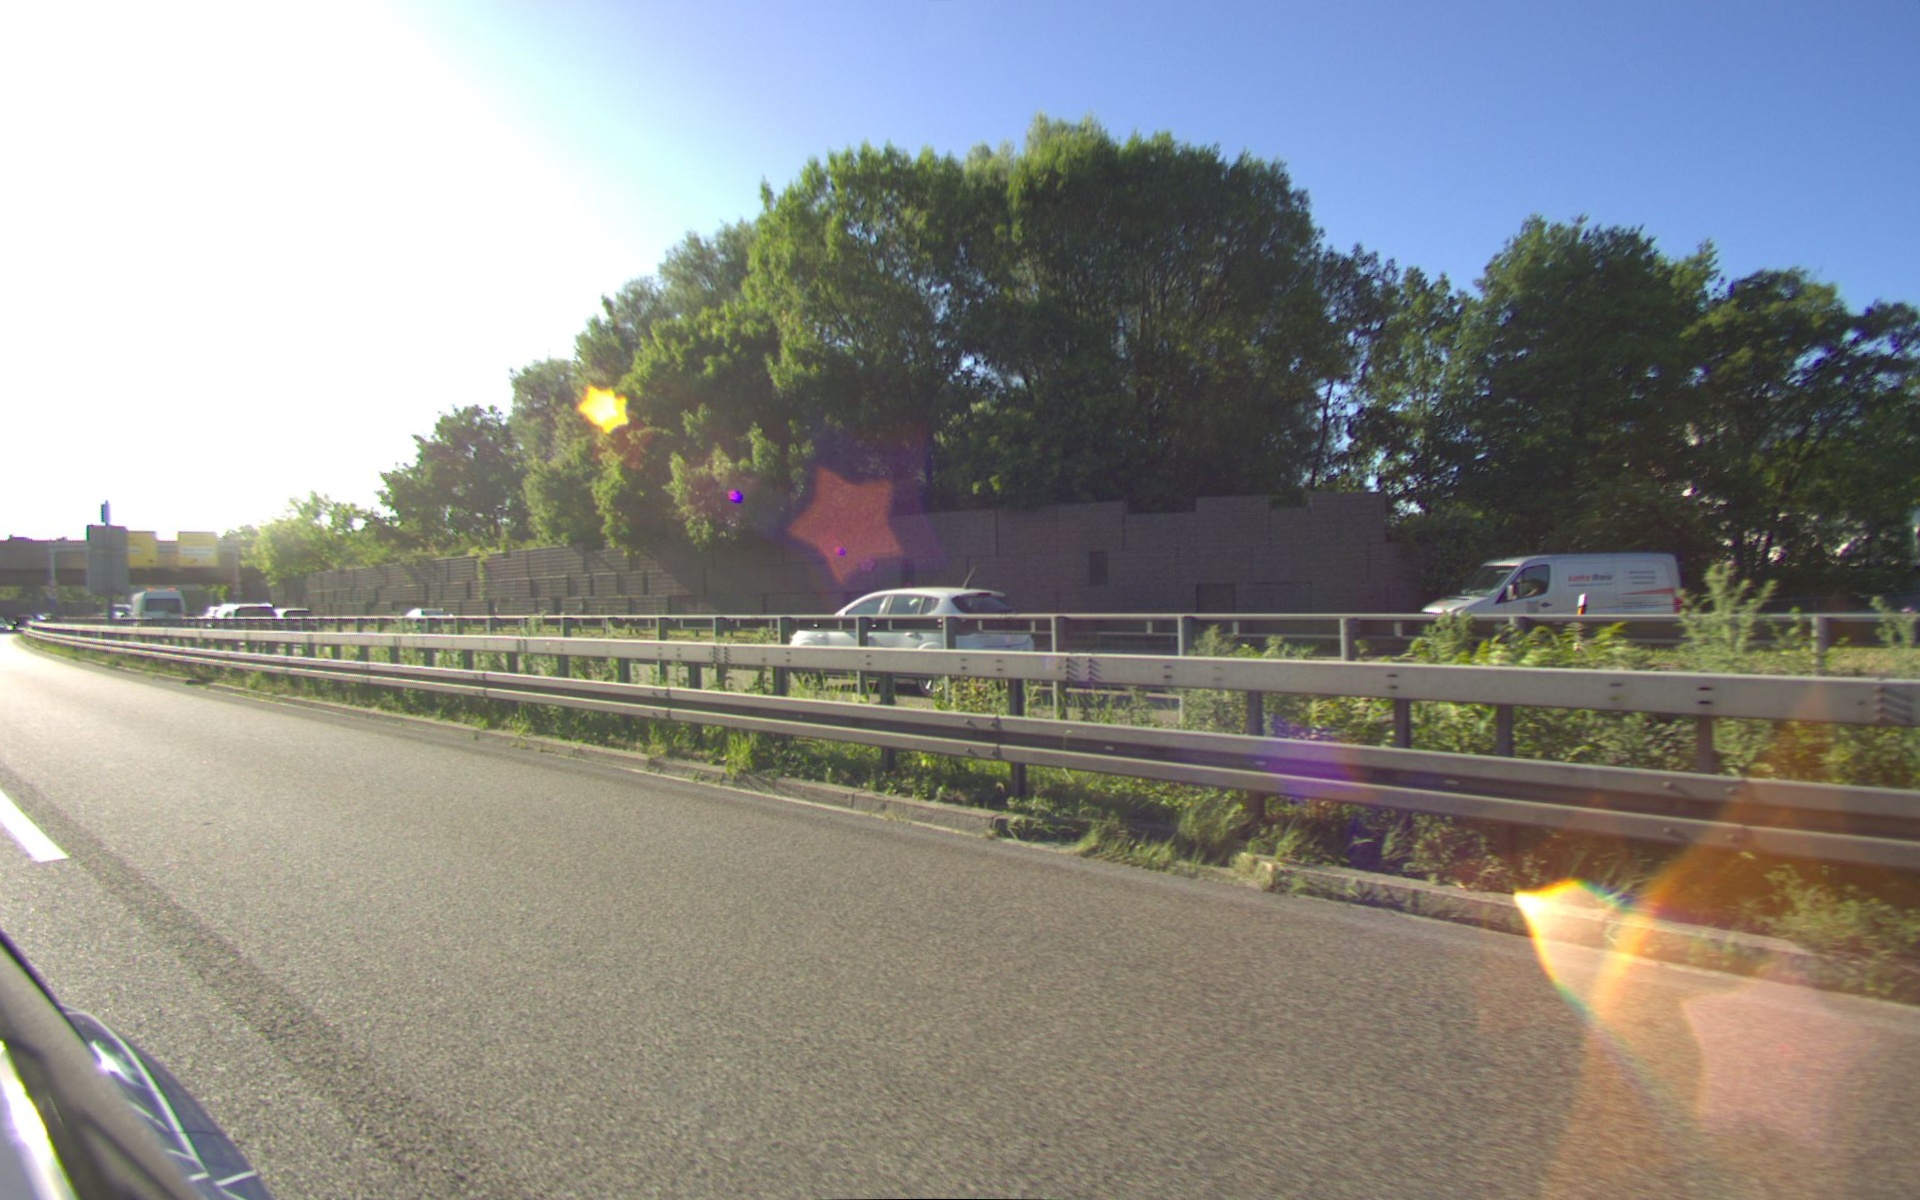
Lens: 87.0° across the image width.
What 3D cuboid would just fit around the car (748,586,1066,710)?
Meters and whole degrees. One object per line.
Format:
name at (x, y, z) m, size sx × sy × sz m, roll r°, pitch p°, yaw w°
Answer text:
car at (-0.904, 0.659, 14.804) m, size 4.618 × 1.491 × 1.804 m, roll -2°, pitch 1°, yaw 40°

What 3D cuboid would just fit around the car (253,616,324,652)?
car at (-34.119, 1.711, 51.364) m, size 4.696 × 1.632 × 1.881 m, roll -2°, pitch 1°, yaw 43°

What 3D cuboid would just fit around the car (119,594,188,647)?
car at (-44.695, 1.164, 56.009) m, size 6.590 × 2.703 × 2.097 m, roll -2°, pitch 1°, yaw 44°

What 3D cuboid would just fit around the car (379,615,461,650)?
car at (-24.465, 1.465, 45.810) m, size 4.027 × 1.398 × 1.973 m, roll -2°, pitch 1°, yaw 42°

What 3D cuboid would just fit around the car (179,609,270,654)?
car at (-28.109, 1.218, 38.631) m, size 4.246 × 1.591 × 1.972 m, roll -3°, pitch -2°, yaw 42°

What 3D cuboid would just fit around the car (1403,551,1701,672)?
car at (13.081, 0.223, 22.621) m, size 5.300 × 2.297 × 2.083 m, roll -3°, pitch 1°, yaw 1°

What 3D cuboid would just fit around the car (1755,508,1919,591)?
car at (46.935, -2.540, 51.881) m, size 2.431 × 3.958 × 12.723 m, roll -3°, pitch 1°, yaw 1°

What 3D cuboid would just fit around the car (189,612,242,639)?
car at (-48.163, 1.658, 65.399) m, size 4.622 × 1.608 × 1.971 m, roll -2°, pitch 1°, yaw 44°

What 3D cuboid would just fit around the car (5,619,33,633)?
car at (-105.737, 2.910, 113.735) m, size 1.968 × 1.425 × 4.839 m, roll -2°, pitch 0°, yaw -39°
